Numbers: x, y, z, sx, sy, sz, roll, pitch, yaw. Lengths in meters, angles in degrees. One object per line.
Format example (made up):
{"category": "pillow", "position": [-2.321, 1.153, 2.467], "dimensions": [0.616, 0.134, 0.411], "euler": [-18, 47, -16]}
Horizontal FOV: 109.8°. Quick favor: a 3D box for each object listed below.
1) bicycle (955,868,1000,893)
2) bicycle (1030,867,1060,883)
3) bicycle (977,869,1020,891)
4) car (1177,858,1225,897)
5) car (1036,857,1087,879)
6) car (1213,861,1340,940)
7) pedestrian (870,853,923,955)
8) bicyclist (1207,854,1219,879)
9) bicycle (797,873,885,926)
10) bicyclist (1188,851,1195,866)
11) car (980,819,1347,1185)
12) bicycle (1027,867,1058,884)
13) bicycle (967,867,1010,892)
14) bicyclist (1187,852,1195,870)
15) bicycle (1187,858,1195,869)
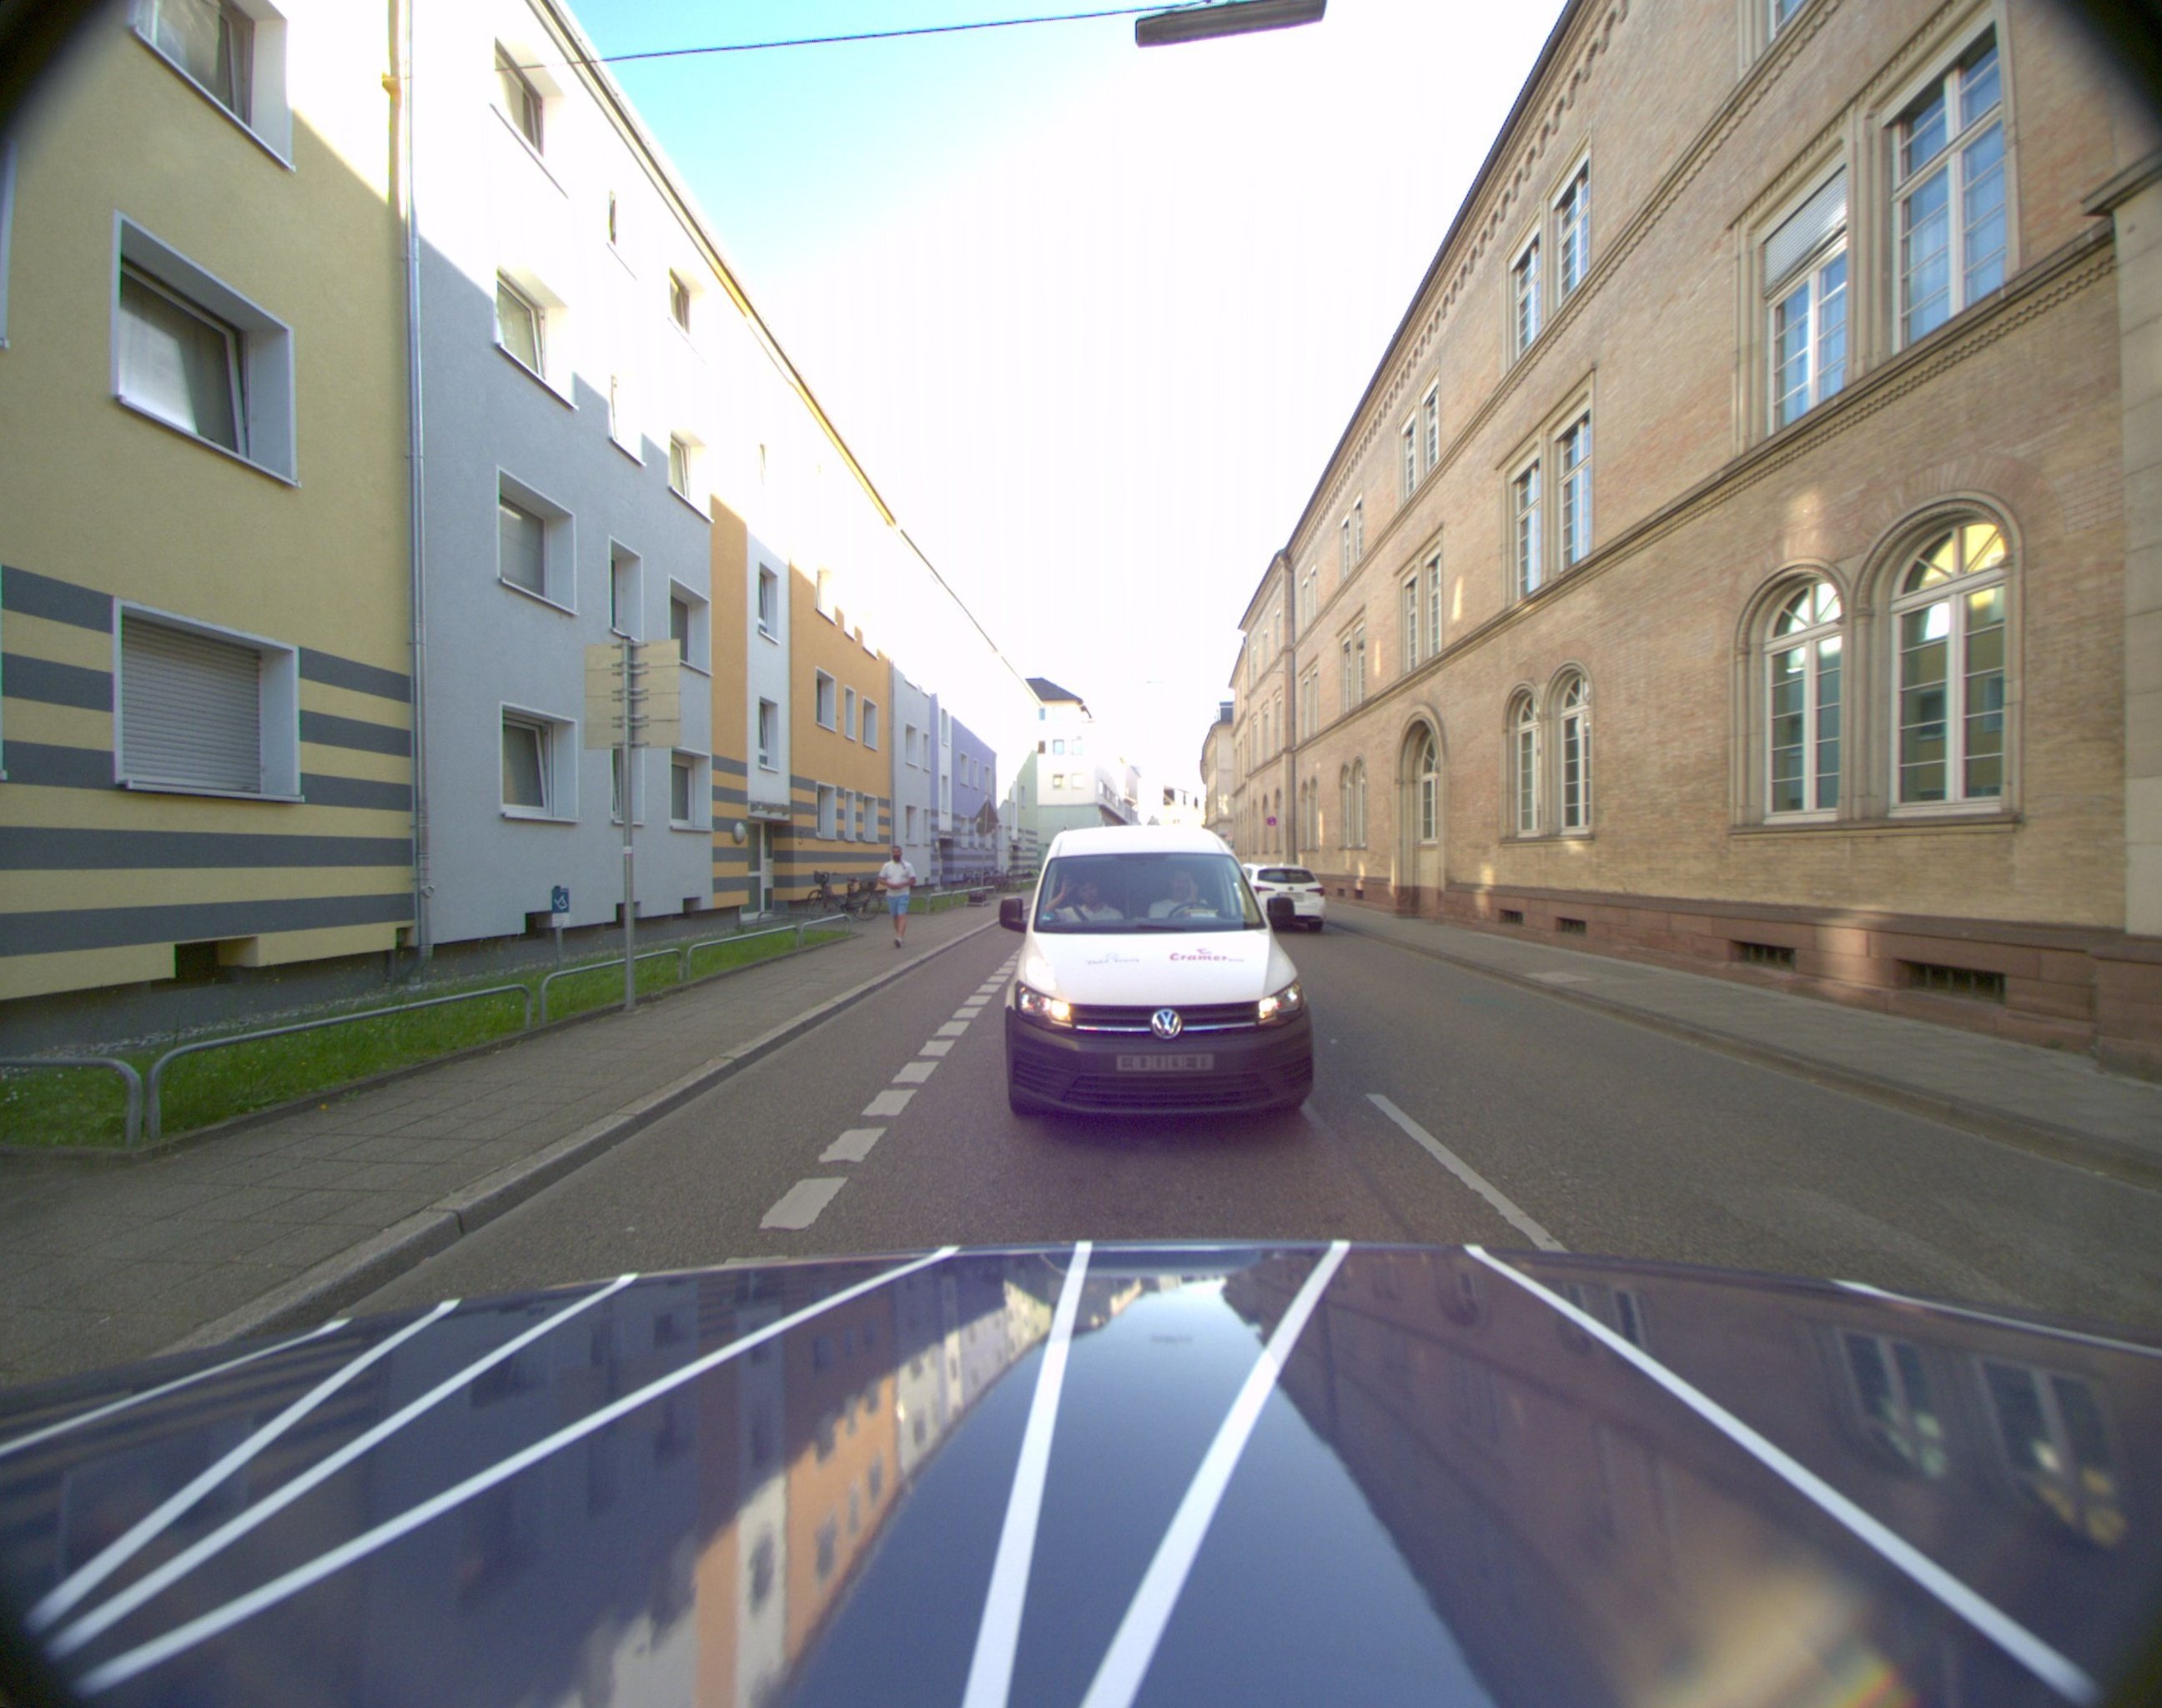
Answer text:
{"category": "bicycle", "position": [-4.323, 1.119, 31.858], "dimensions": [1.775, 0.990, 0.584], "euler": [1, 1, 7]}
{"category": "bicycle", "position": [-2.233, 1.321, 47.608], "dimensions": [1.775, 0.934, 0.584], "euler": [1, 1, 7]}
{"category": "bicycle", "position": [-3.657, 1.147, 33.816], "dimensions": [1.775, 0.934, 0.584], "euler": [1, 1, 7]}
{"category": "car", "position": [5.301, 1.012, 34.053], "dimensions": [1.689, 1.573, 4.276], "euler": [2, 0, 4]}
{"category": "car", "position": [-1.592, 1.151, 63.475], "dimensions": [3.995, 1.681, 1.901], "euler": [-2, 1, 5]}
{"category": "car", "position": [4.327, 0.953, 17.574], "dimensions": [1.891, 1.467, 4.545], "euler": [2, 0, 2]}
{"category": "pedestrian", "position": [-3.085, 0.812, 12.772], "dimensions": [0.644, 1.662, 0.834], "euler": [1, 0, 3]}
{"category": "bicyclist", "position": [7.662, 0.707, 44.167], "dimensions": [0.604, 1.434, 0.578], "euler": [0, 0, 4]}
{"category": "bicycle", "position": [-5.392, 1.020, 17.101], "dimensions": [1.776, 1.118, 0.583], "euler": [1, 1, -1]}
{"category": "bicyclist", "position": [11.296, 0.455, 77.543], "dimensions": [0.651, 1.500, 1.112], "euler": [2, 0, 9]}
{"category": "car", "position": [0.447, 0.749, 6.468], "dimensions": [1.819, 1.825, 5.341], "euler": [0, 0, 1]}
{"category": "bicycle", "position": [-2.313, 1.290, 46.071], "dimensions": [1.775, 0.934, 0.584], "euler": [1, 1, 7]}
{"category": "bicycle", "position": [-4.047, 1.109, 33.200], "dimensions": [1.775, 0.990, 0.584], "euler": [1, 1, 7]}
{"category": "bicyclist", "position": [9.952, 0.646, 68.810], "dimensions": [0.651, 1.558, 0.961], "euler": [2, 0, 5]}
{"category": "bicycle", "position": [9.956, 0.871, 68.820], "dimensions": [0.651, 1.001, 1.807], "euler": [2, 0, 6]}
